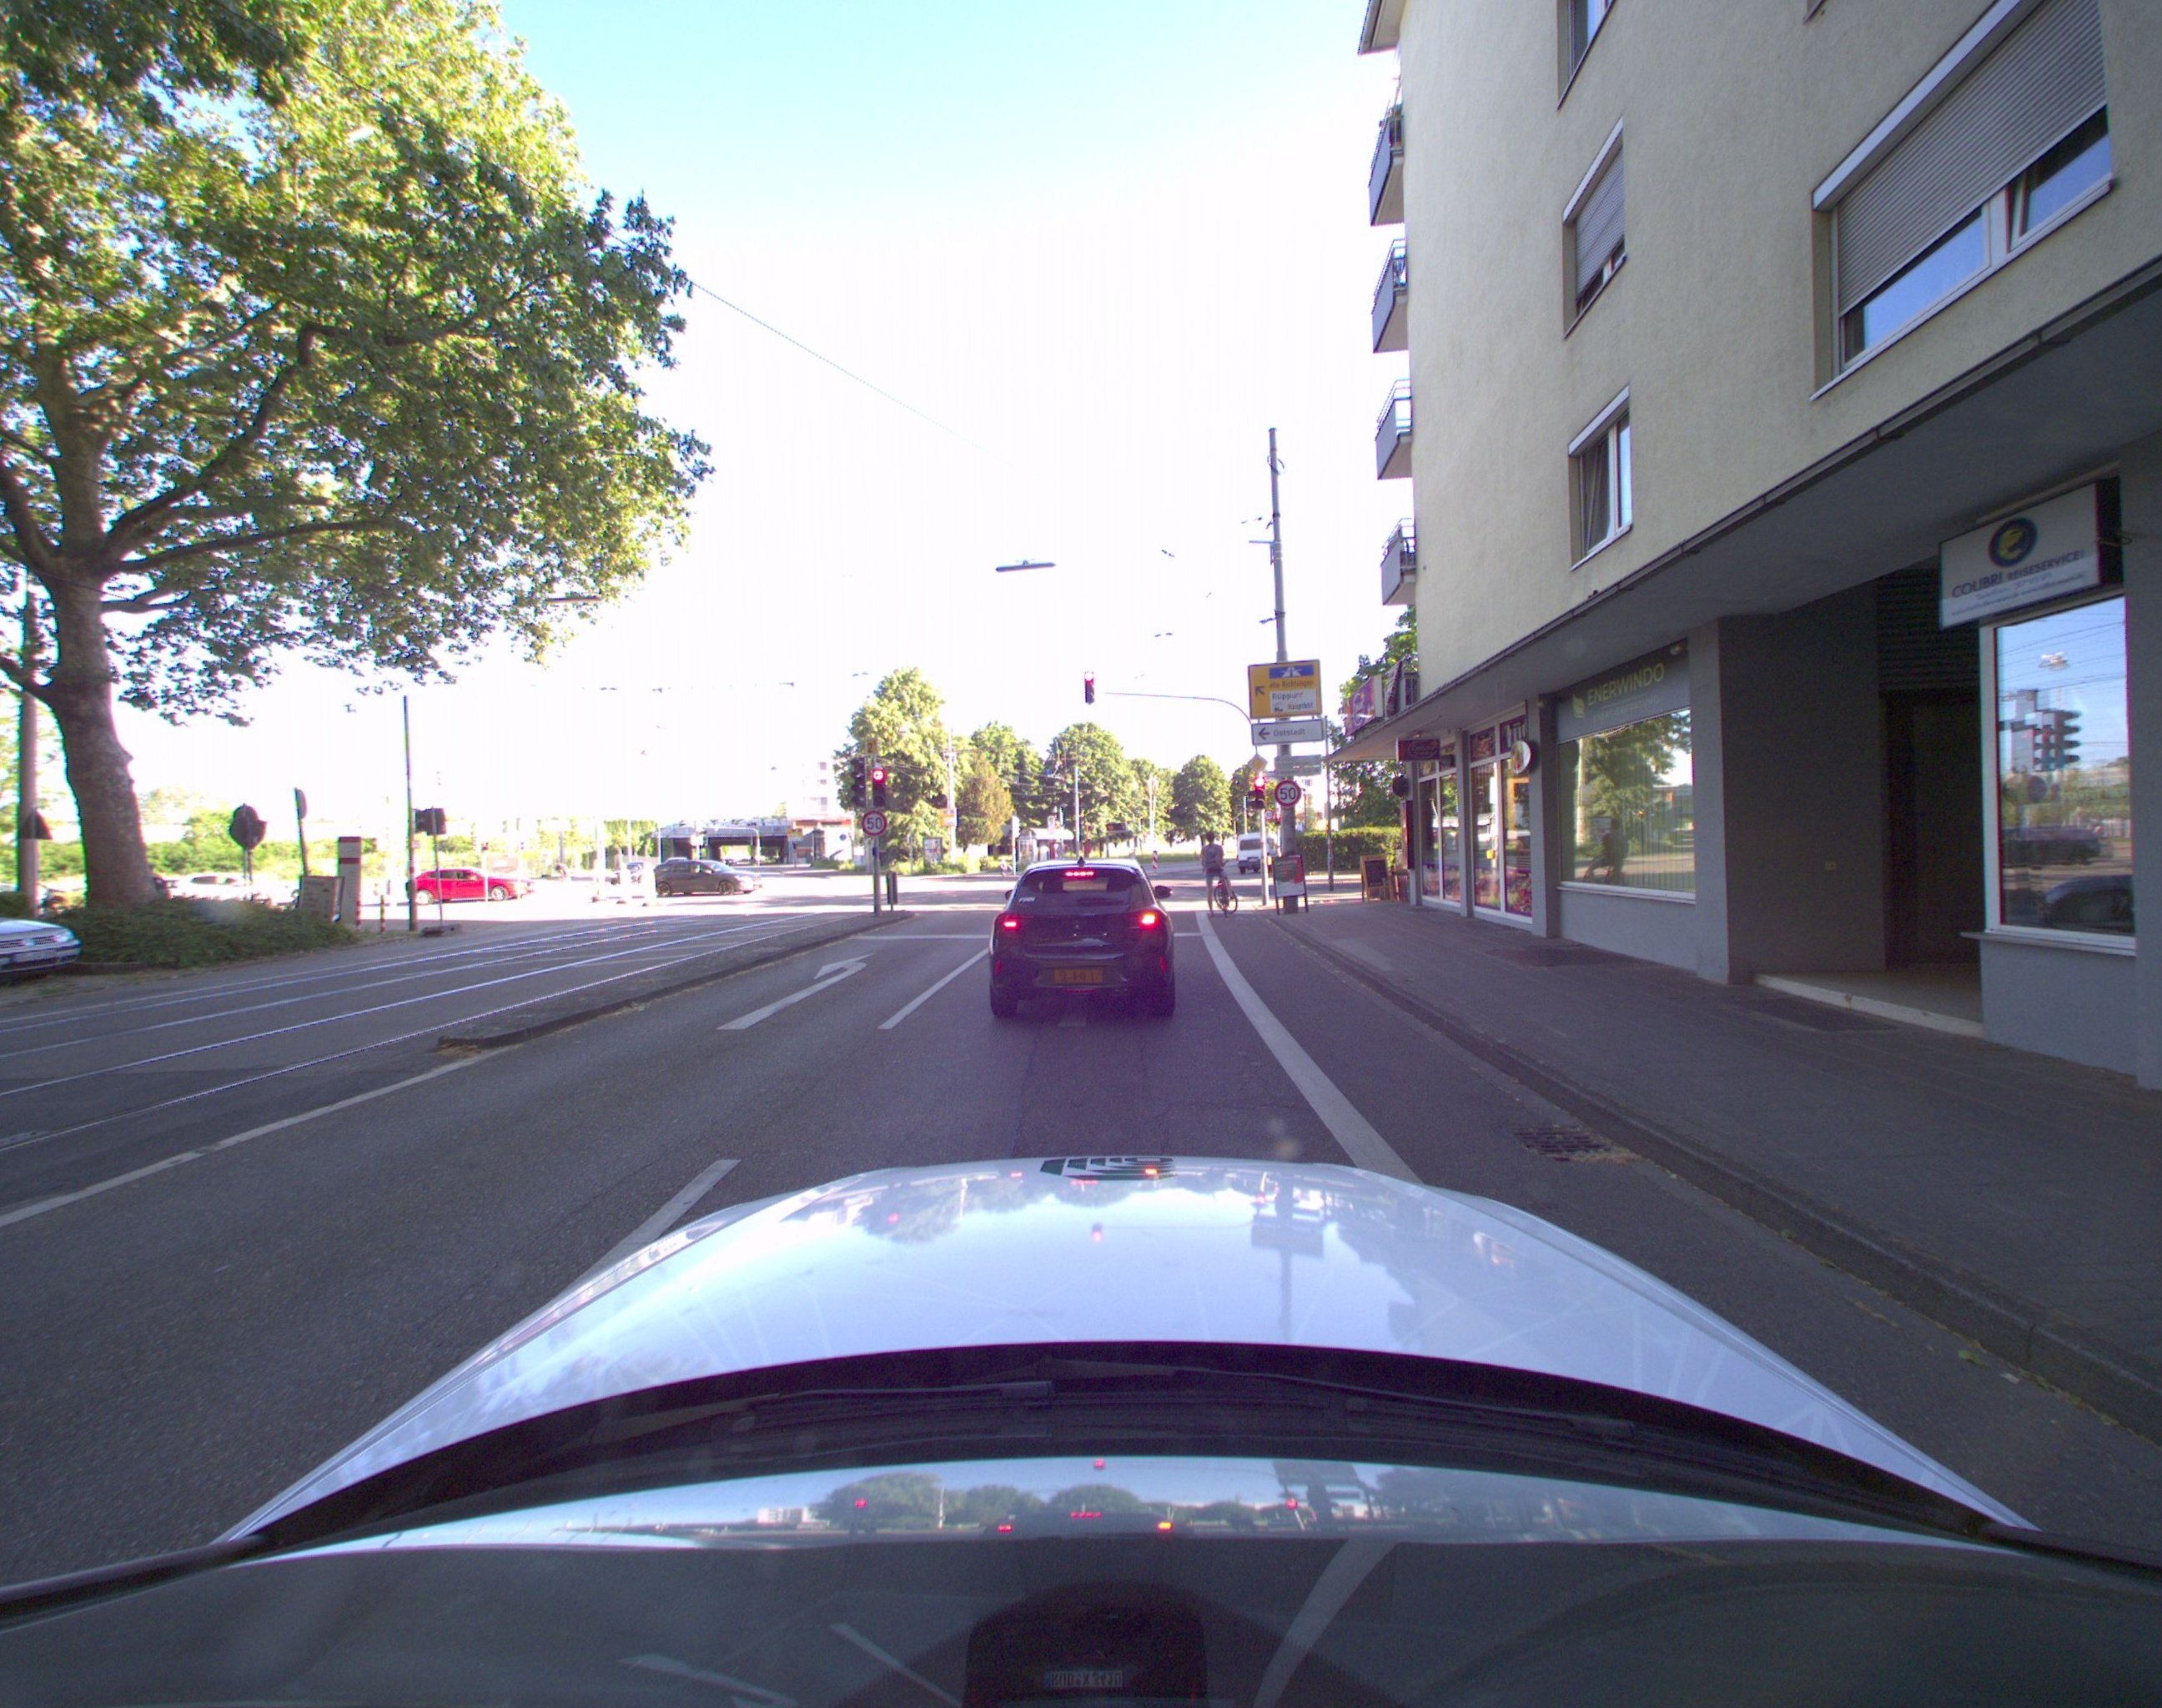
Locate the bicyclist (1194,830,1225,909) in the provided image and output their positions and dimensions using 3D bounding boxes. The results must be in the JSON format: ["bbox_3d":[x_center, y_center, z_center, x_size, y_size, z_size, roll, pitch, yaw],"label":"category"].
[{"bbox_3d":[2.813,0.331,17.829,0.529,1.692,0.571,-2,0,19],"label":"bicyclist"}]

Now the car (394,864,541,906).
[{"bbox_3d":[-25.777,1.263,34.394,4.485,1.565,2.012,-1,0,-15],"label":"car"}]

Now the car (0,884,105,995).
[{"bbox_3d":[-16.629,1.198,11.348,3.957,1.453,1.670,-1,0,-1],"label":"car"}]

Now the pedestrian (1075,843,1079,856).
[{"bbox_3d":[-0.598,-0.644,118.814,0.602,1.872,0.519,0,-1,-4],"label":"pedestrian"}]

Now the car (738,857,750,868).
[{"bbox_3d":[-54.300,1.393,131.201,1.761,1.684,3.713,0,-1,-22],"label":"car"}]

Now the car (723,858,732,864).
[{"bbox_3d":[-76.788,1.510,176.733,1.587,1.260,3.397,-2,0,-28],"label":"car"}]

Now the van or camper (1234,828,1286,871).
[{"bbox_3d":[10.221,-0.226,46.285,2.011,2.310,4.565,-1,-1,23],"label":"van or camper"}]

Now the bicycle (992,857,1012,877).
[{"bbox_3d":[-4.511,0.740,46.587,0.793,1.064,2.186,-2,0,2],"label":"bicycle"}]

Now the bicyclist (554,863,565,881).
[{"bbox_3d":[-34.744,1.202,54.269,0.528,1.222,0.526,-1,0,-22],"label":"bicyclist"}]

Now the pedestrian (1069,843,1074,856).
[{"bbox_3d":[-1.389,-0.631,119.688,0.602,1.872,0.519,0,-1,-4],"label":"pedestrian"}]

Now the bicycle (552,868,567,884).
[{"bbox_3d":[-34.733,1.469,54.260,0.528,0.982,1.566,-1,0,-22],"label":"bicycle"}]

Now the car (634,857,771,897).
[{"bbox_3d":[-15.333,0.932,33.124,4.701,1.473,1.943,-1,0,7],"label":"car"}]

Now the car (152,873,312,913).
[{"bbox_3d":[-35.765,1.614,34.469,4.198,1.552,1.983,0,-1,-21],"label":"car"}]

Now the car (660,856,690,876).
[{"bbox_3d":[-33.522,0.977,67.333,1.892,1.585,3.809,0,-1,-21],"label":"car"}]

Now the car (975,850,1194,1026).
[{"bbox_3d":[0.093,0.703,8.936,1.833,1.462,3.985,-1,0,2],"label":"car"}]

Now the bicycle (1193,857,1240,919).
[{"bbox_3d":[3.015,0.716,17.927,0.747,1.235,2.024,-2,0,16],"label":"bicycle"}]

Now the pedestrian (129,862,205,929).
[{"bbox_3d":[-23.052,1.018,20.548,0.842,1.647,0.931,0,-1,1],"label":"pedestrian"}]
